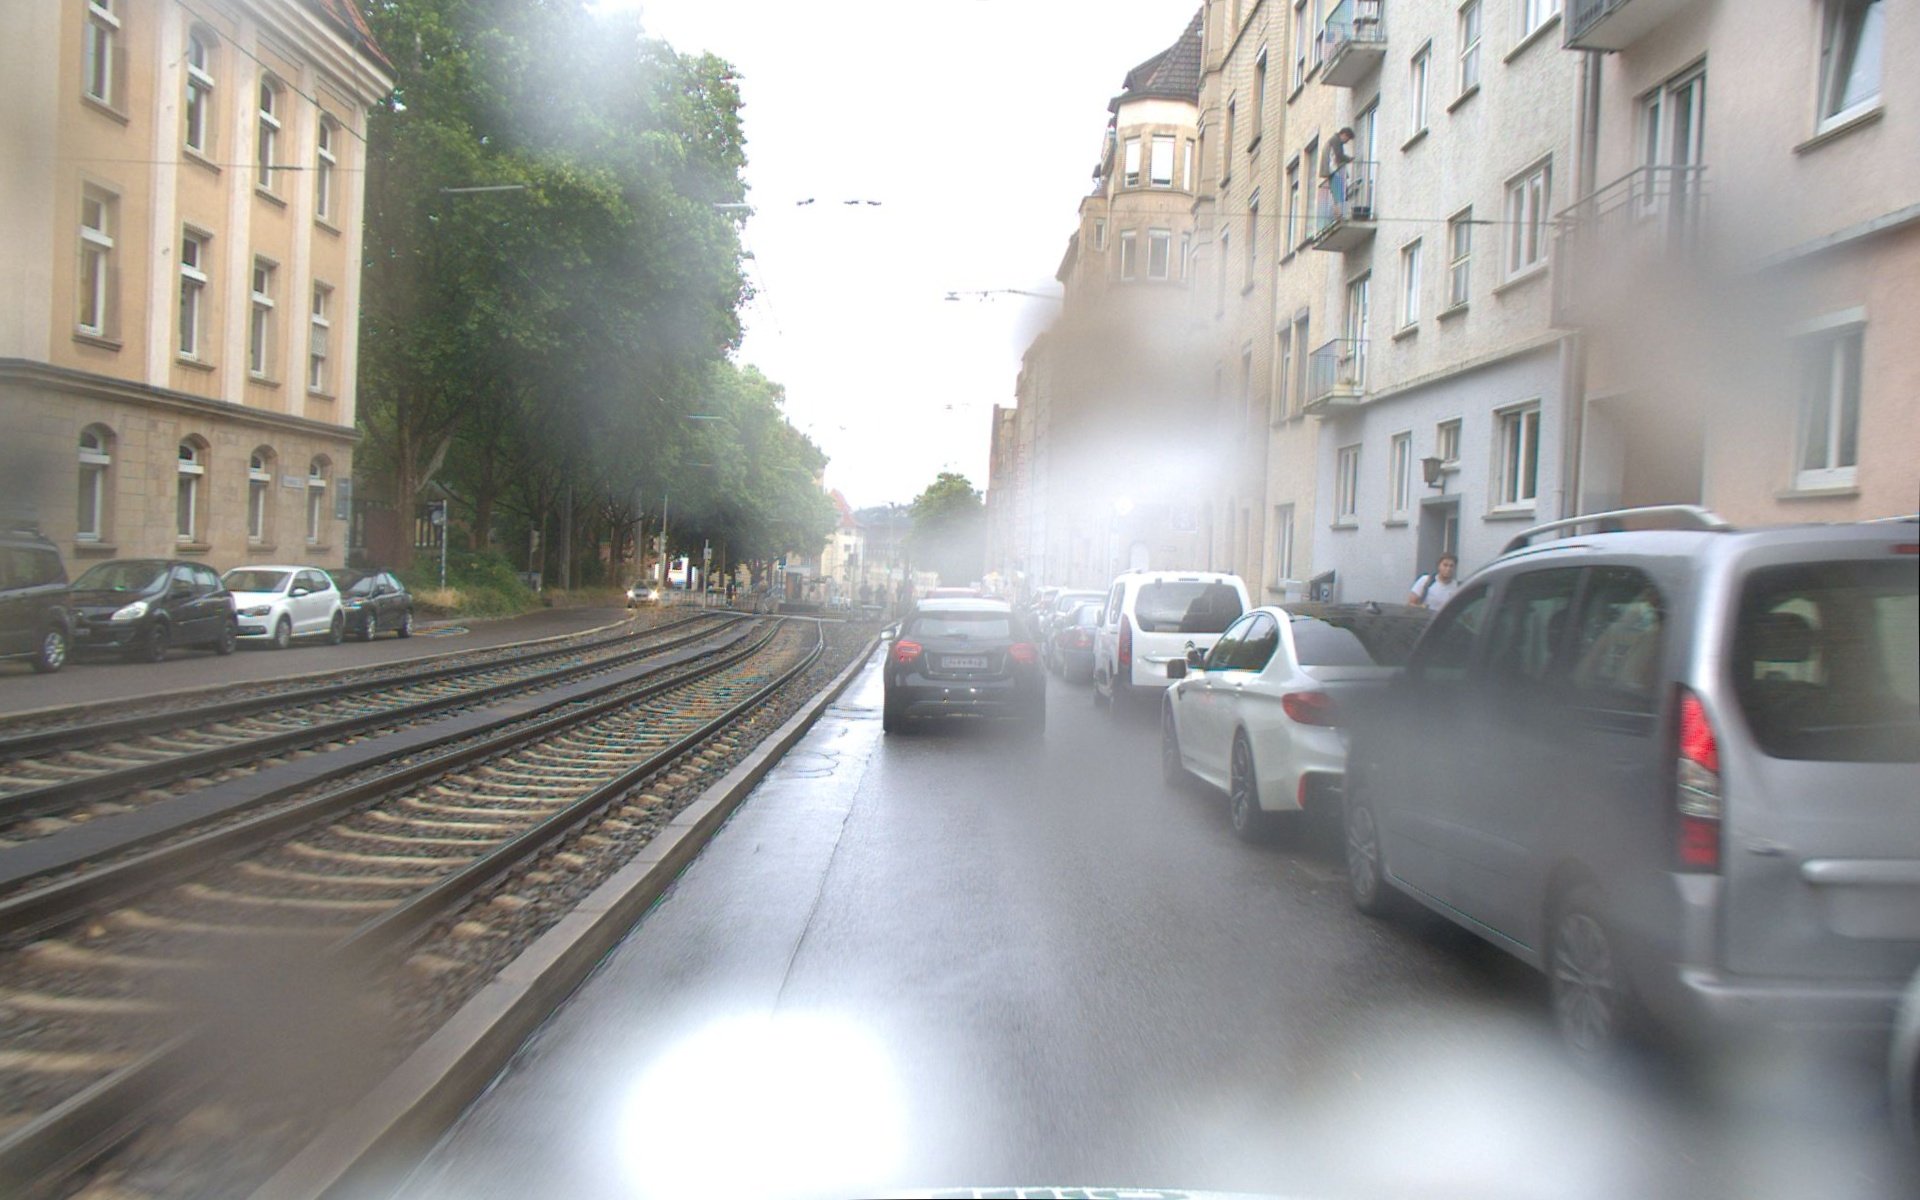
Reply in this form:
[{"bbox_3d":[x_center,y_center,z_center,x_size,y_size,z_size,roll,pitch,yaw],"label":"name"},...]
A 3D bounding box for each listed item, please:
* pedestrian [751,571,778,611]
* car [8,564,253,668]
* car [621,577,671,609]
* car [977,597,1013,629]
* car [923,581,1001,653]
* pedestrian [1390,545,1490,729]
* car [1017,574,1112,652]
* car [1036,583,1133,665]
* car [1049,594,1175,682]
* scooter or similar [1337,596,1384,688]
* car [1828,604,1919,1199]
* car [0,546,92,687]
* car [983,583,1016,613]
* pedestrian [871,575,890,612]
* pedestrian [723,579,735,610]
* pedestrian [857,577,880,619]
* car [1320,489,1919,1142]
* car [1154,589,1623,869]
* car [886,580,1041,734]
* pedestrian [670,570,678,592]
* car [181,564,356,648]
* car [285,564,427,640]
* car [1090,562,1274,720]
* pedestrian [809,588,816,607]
[{"bbox_3d":[-8.697,-0.407,73.601,1.033,1.748,0.904,2,0,0],"label":"pedestrian"},{"bbox_3d":[-12.316,0.214,24.855,1.640,1.438,4.010,0,0,0],"label":"car"},{"bbox_3d":[-15.955,-0.379,84.256,1.781,1.531,4.631,2,0,-3],"label":"car"},{"bbox_3d":[1.867,0.657,88.782,1.790,1.646,3.863,0,1,-1],"label":"car"},{"bbox_3d":[0.019,0.380,39.996,1.749,1.608,3.999,2,0,-1],"label":"car"},{"bbox_3d":[5.028,0.369,17.380,0.730,1.866,1.039,-1,0,0],"label":"pedestrian"},{"bbox_3d":[2.459,0.288,39.893,1.731,1.697,4.330,2,0,-3],"label":"car"},{"bbox_3d":[2.540,0.471,34.570,1.659,1.556,4.000,2,0,-1],"label":"car"},{"bbox_3d":[2.618,0.614,29.473,1.683,1.370,4.460,2,0,-1],"label":"car"},{"bbox_3d":[5.909,0.604,24.417,0.379,1.320,1.171,1,0,0],"label":"scooter or similar"},{"bbox_3d":[3.014,0.779,2.441,1.538,1.487,3.599,1,0,-1],"label":"car"},{"bbox_3d":[-12.120,0.197,19.659,1.544,1.672,4.070,0,0,-2],"label":"car"},{"bbox_3d":[2.220,-0.130,93.352,1.724,1.606,3.999,0,1,-1],"label":"car"},{"bbox_3d":[-3.522,-0.286,73.492,0.789,1.662,0.892,0,0,0],"label":"pedestrian"},{"bbox_3d":[-13.650,-0.330,97.949,0.523,1.784,0.607,3,0,-1],"label":"pedestrian"},{"bbox_3d":[-4.485,-0.094,80.862,1.115,2.033,1.171,0,0,-5],"label":"pedestrian"},{"bbox_3d":[2.847,0.590,6.682,1.754,1.796,4.211,1,0,-2],"label":"car"},{"bbox_3d":[2.656,0.700,11.567,1.833,1.481,4.901,2,0,-2],"label":"car"},{"bbox_3d":[-0.003,0.573,18.701,1.548,1.531,3.573,2,0,-1],"label":"car"},{"bbox_3d":[-23.302,-1.572,134.899,0.542,1.775,0.606,1,-1,-2],"label":"pedestrian"},{"bbox_3d":[-12.364,0.091,29.825,1.469,1.415,3.987,0,0,0],"label":"car"},{"bbox_3d":[-12.466,0.016,34.359,1.581,1.454,3.851,1,1,-1],"label":"car"},{"bbox_3d":[2.746,0.460,21.421,1.791,1.781,4.467,2,0,1],"label":"car"},{"bbox_3d":[-13.401,-0.228,150.273,0.508,1.747,0.551,3,0,-1],"label":"pedestrian"}]
